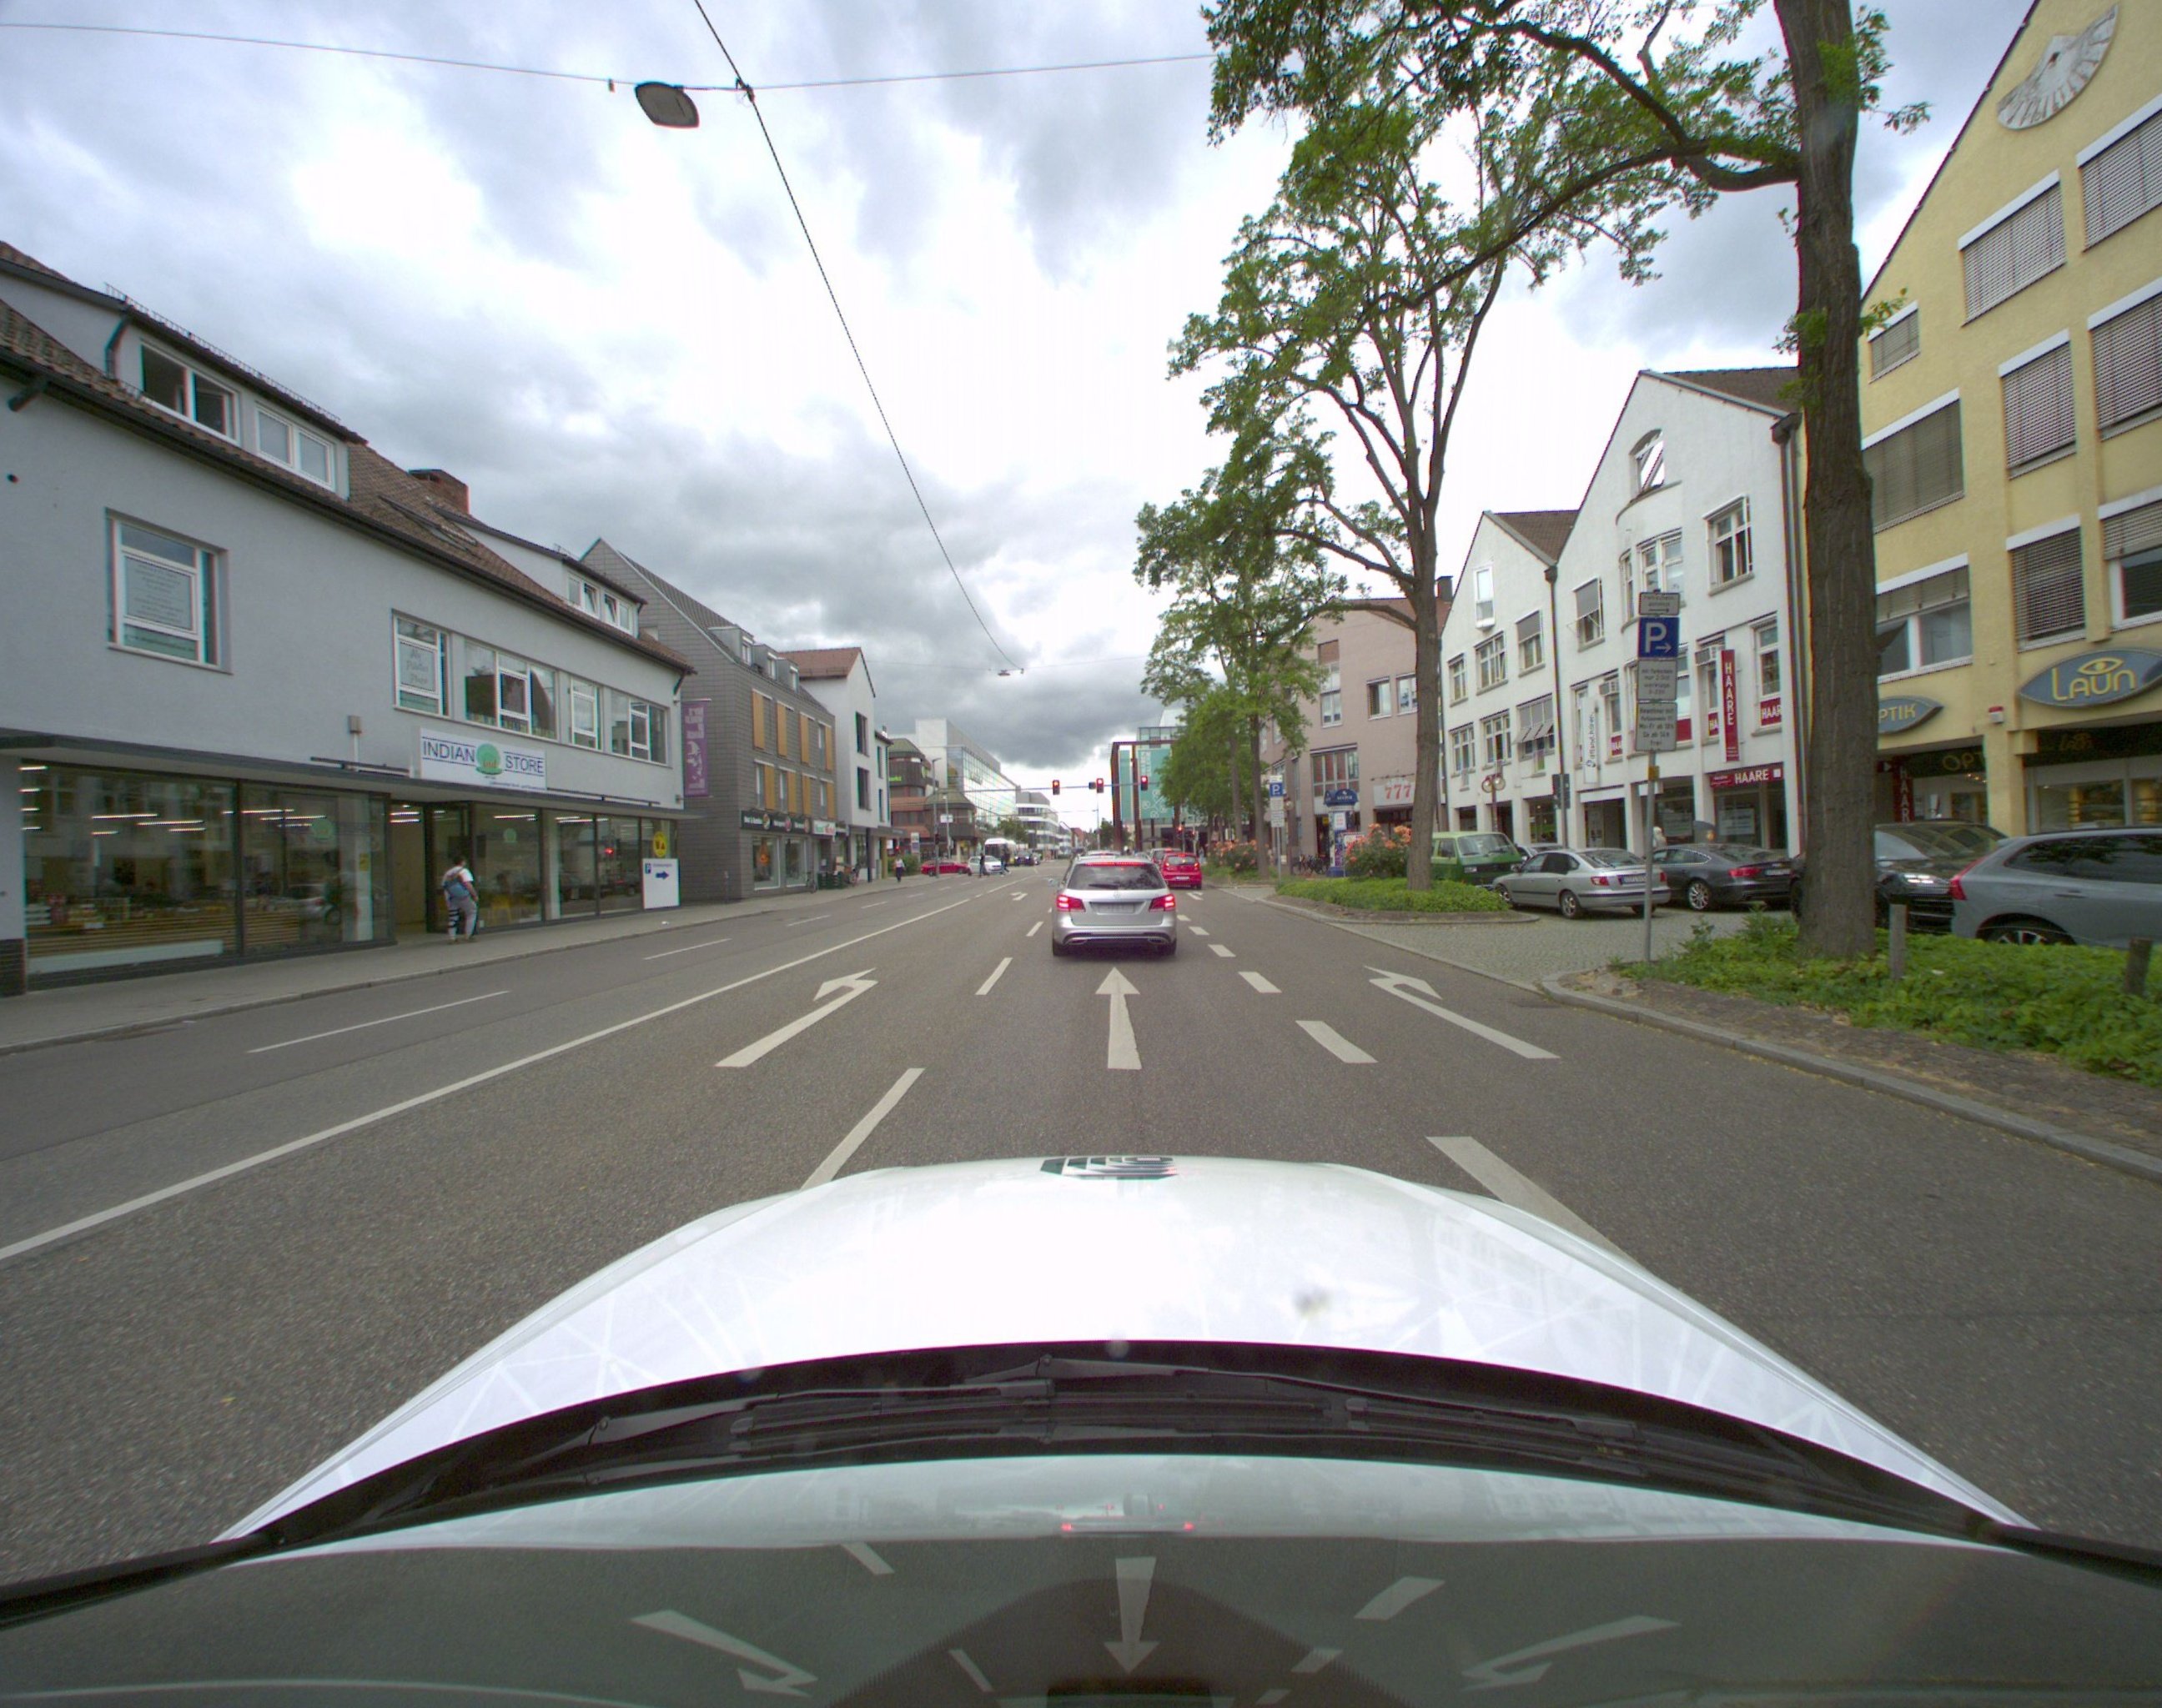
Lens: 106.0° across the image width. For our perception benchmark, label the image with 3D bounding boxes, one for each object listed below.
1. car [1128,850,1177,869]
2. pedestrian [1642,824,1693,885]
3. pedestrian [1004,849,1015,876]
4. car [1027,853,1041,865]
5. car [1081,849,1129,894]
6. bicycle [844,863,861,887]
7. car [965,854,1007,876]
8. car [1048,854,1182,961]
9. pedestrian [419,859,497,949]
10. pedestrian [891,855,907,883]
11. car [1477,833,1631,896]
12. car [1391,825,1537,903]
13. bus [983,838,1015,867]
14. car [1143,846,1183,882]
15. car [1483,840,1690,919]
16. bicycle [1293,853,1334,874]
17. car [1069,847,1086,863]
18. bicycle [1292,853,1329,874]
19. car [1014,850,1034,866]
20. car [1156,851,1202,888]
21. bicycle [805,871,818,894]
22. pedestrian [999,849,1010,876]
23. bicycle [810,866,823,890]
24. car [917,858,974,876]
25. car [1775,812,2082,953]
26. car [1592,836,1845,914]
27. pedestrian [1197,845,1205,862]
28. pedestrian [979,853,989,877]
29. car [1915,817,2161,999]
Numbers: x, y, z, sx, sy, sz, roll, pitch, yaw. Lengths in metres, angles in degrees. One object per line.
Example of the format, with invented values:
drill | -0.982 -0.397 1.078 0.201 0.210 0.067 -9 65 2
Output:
car | 6.310 0.506 72.023 4.171 1.530 1.791 -2 0 1
pedestrian | 16.701 0.019 23.214 0.786 1.659 0.819 -4 0 1
pedestrian | -4.896 0.566 55.672 0.644 1.775 0.569 -2 0 -9
car | -5.874 0.569 101.961 1.550 1.392 3.288 -2 0 0
car | 0.871 0.595 29.777 1.634 1.527 3.395 -1 0 1
bicycle | -12.232 1.122 43.542 0.385 1.186 1.825 -2 0 -1
car | -7.229 0.849 62.036 1.587 1.488 3.424 -3 0 -37
car | 0.529 0.721 13.203 1.808 1.448 4.371 0 0 2
pedestrian | -12.287 0.962 16.090 0.751 1.705 0.981 1 0 1
pedestrian | -10.825 0.908 48.485 0.725 1.610 0.753 -2 0 2
car | 13.317 0.261 23.289 1.790 1.542 4.393 -3 0 0
car | 10.660 0.241 23.101 1.874 1.876 4.605 -3 0 0
bus | -9.667 -0.157 96.971 2.678 3.261 8.654 -2 0 1
car | 3.915 0.459 39.388 1.581 1.634 3.916 0 0 0
car | 10.787 0.482 17.829 1.757 1.450 4.418 -2 0 0
bicycle | 11.735 0.469 41.163 1.892 0.997 0.468 -2 0 5
car | -0.437 0.119 106.872 1.987 1.949 4.951 -2 0 1
bicycle | 11.761 0.488 41.709 1.760 0.997 0.447 -2 0 5
car | -6.562 0.459 94.251 1.987 1.706 4.065 -2 0 0
car | 3.981 0.599 33.399 1.580 1.443 3.350 0 0 2
bicycle | -12.097 1.272 36.578 0.325 0.954 1.479 -2 0 -9
pedestrian | -5.148 0.572 54.862 0.646 1.790 0.682 -2 0 -7
bicycle | -13.223 1.187 40.702 0.386 1.127 1.286 -2 0 -8
car | -12.011 1.144 72.356 4.696 1.369 1.965 -2 0 2
car | 12.143 0.311 12.117 1.835 1.670 4.693 -3 0 30
car | 13.538 0.393 17.729 1.991 1.376 4.418 -3 0 0
pedestrian | 12.075 -0.066 81.901 0.652 1.650 0.557 -2 0 -13
pedestrian | -6.541 0.743 55.105 0.558 1.650 0.651 -2 0 -13
car | 10.492 0.444 6.853 1.988 1.595 4.761 -2 0 -1
